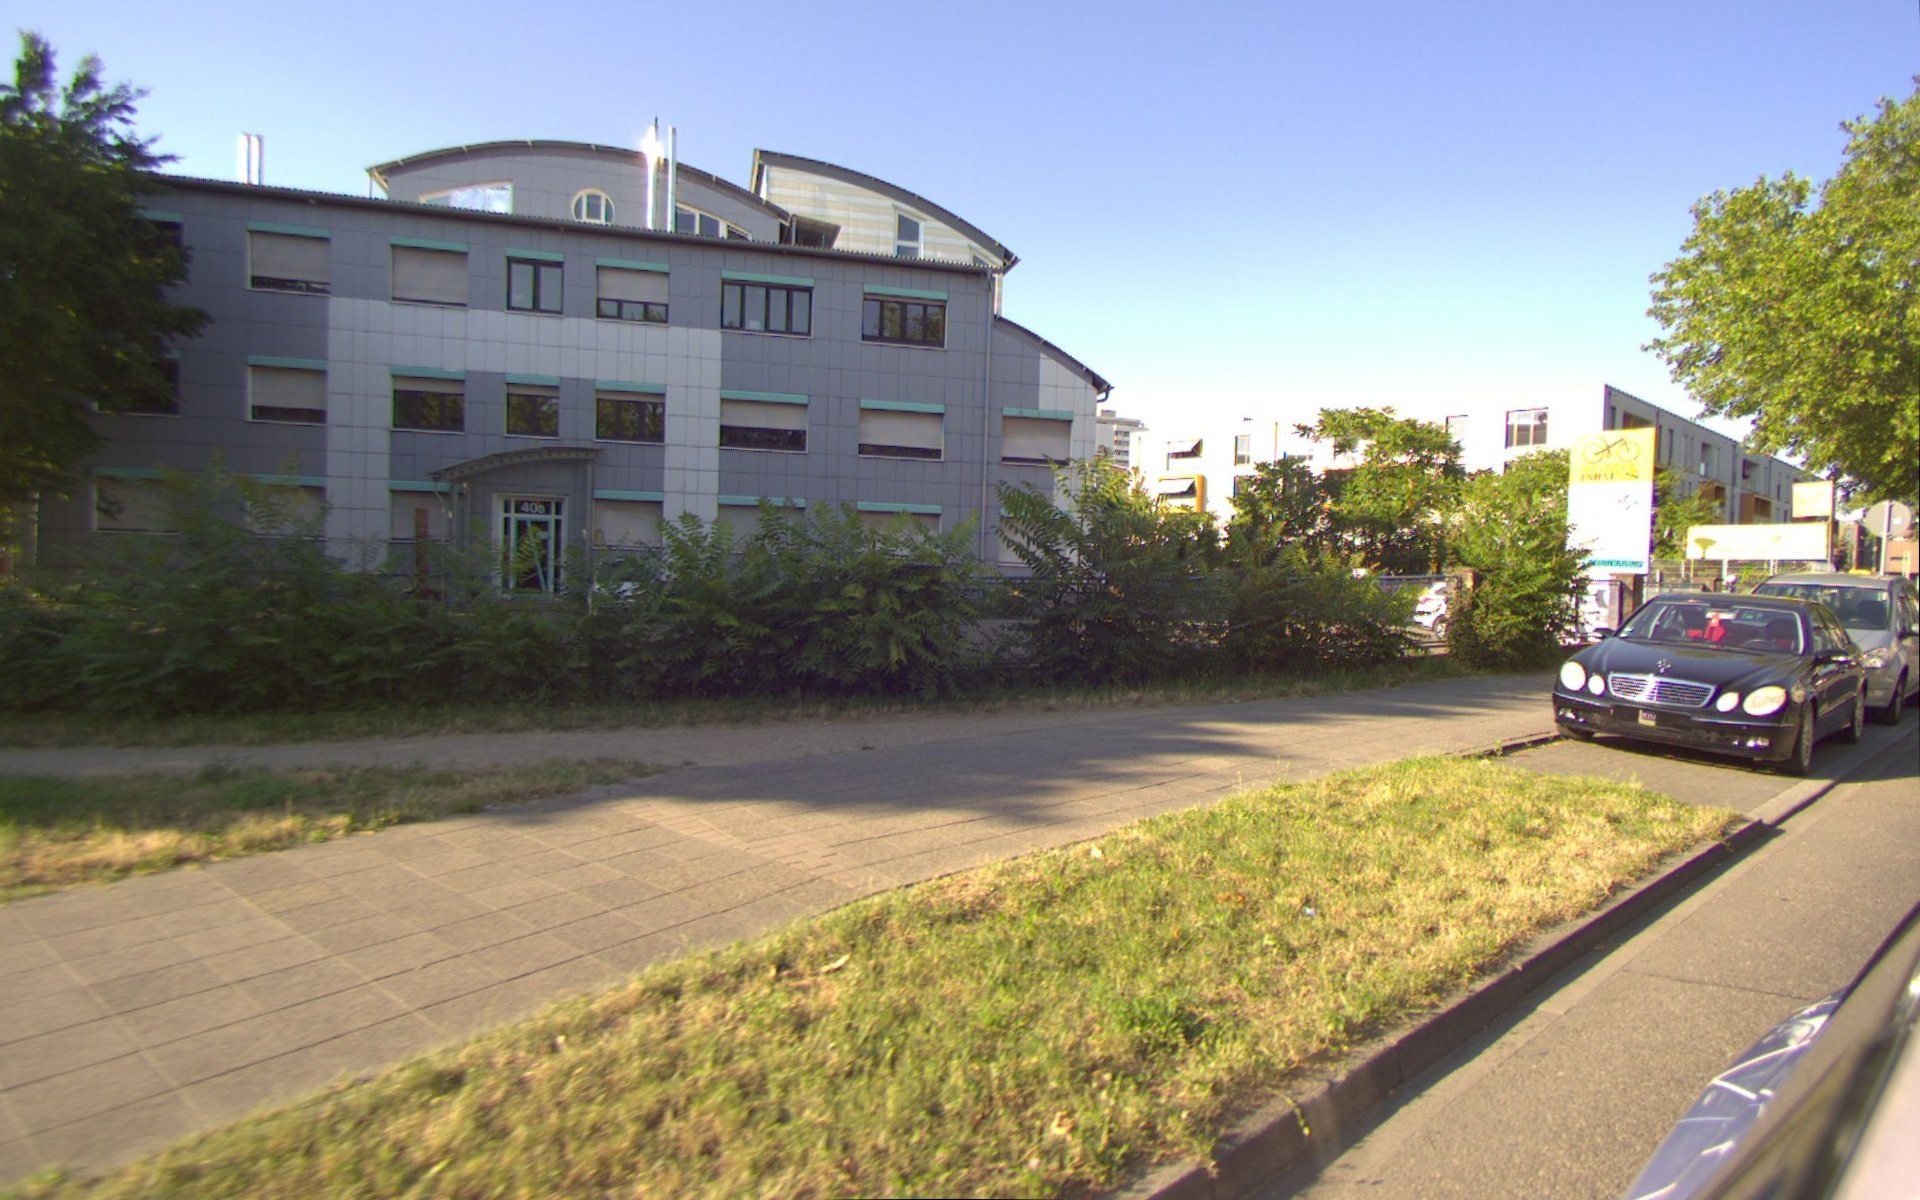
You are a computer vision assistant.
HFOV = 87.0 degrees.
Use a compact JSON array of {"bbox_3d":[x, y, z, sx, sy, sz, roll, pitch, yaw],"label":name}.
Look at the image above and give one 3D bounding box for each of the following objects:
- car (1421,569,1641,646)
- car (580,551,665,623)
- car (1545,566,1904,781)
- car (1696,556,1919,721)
[{"bbox_3d":[12.966,0.100,23.161,1.808,1.579,3.997,0,2,-38],"label":"car"},{"bbox_3d":[-8.472,-0.388,25.490,1.869,1.593,4.011,0,3,-18],"label":"car"},{"bbox_3d":[7.501,0.518,9.741,4.608,1.533,1.786,0,4,-41],"label":"car"},{"bbox_3d":[11.539,0.373,13.299,4.831,1.781,1.997,0,2,-41],"label":"car"}]
